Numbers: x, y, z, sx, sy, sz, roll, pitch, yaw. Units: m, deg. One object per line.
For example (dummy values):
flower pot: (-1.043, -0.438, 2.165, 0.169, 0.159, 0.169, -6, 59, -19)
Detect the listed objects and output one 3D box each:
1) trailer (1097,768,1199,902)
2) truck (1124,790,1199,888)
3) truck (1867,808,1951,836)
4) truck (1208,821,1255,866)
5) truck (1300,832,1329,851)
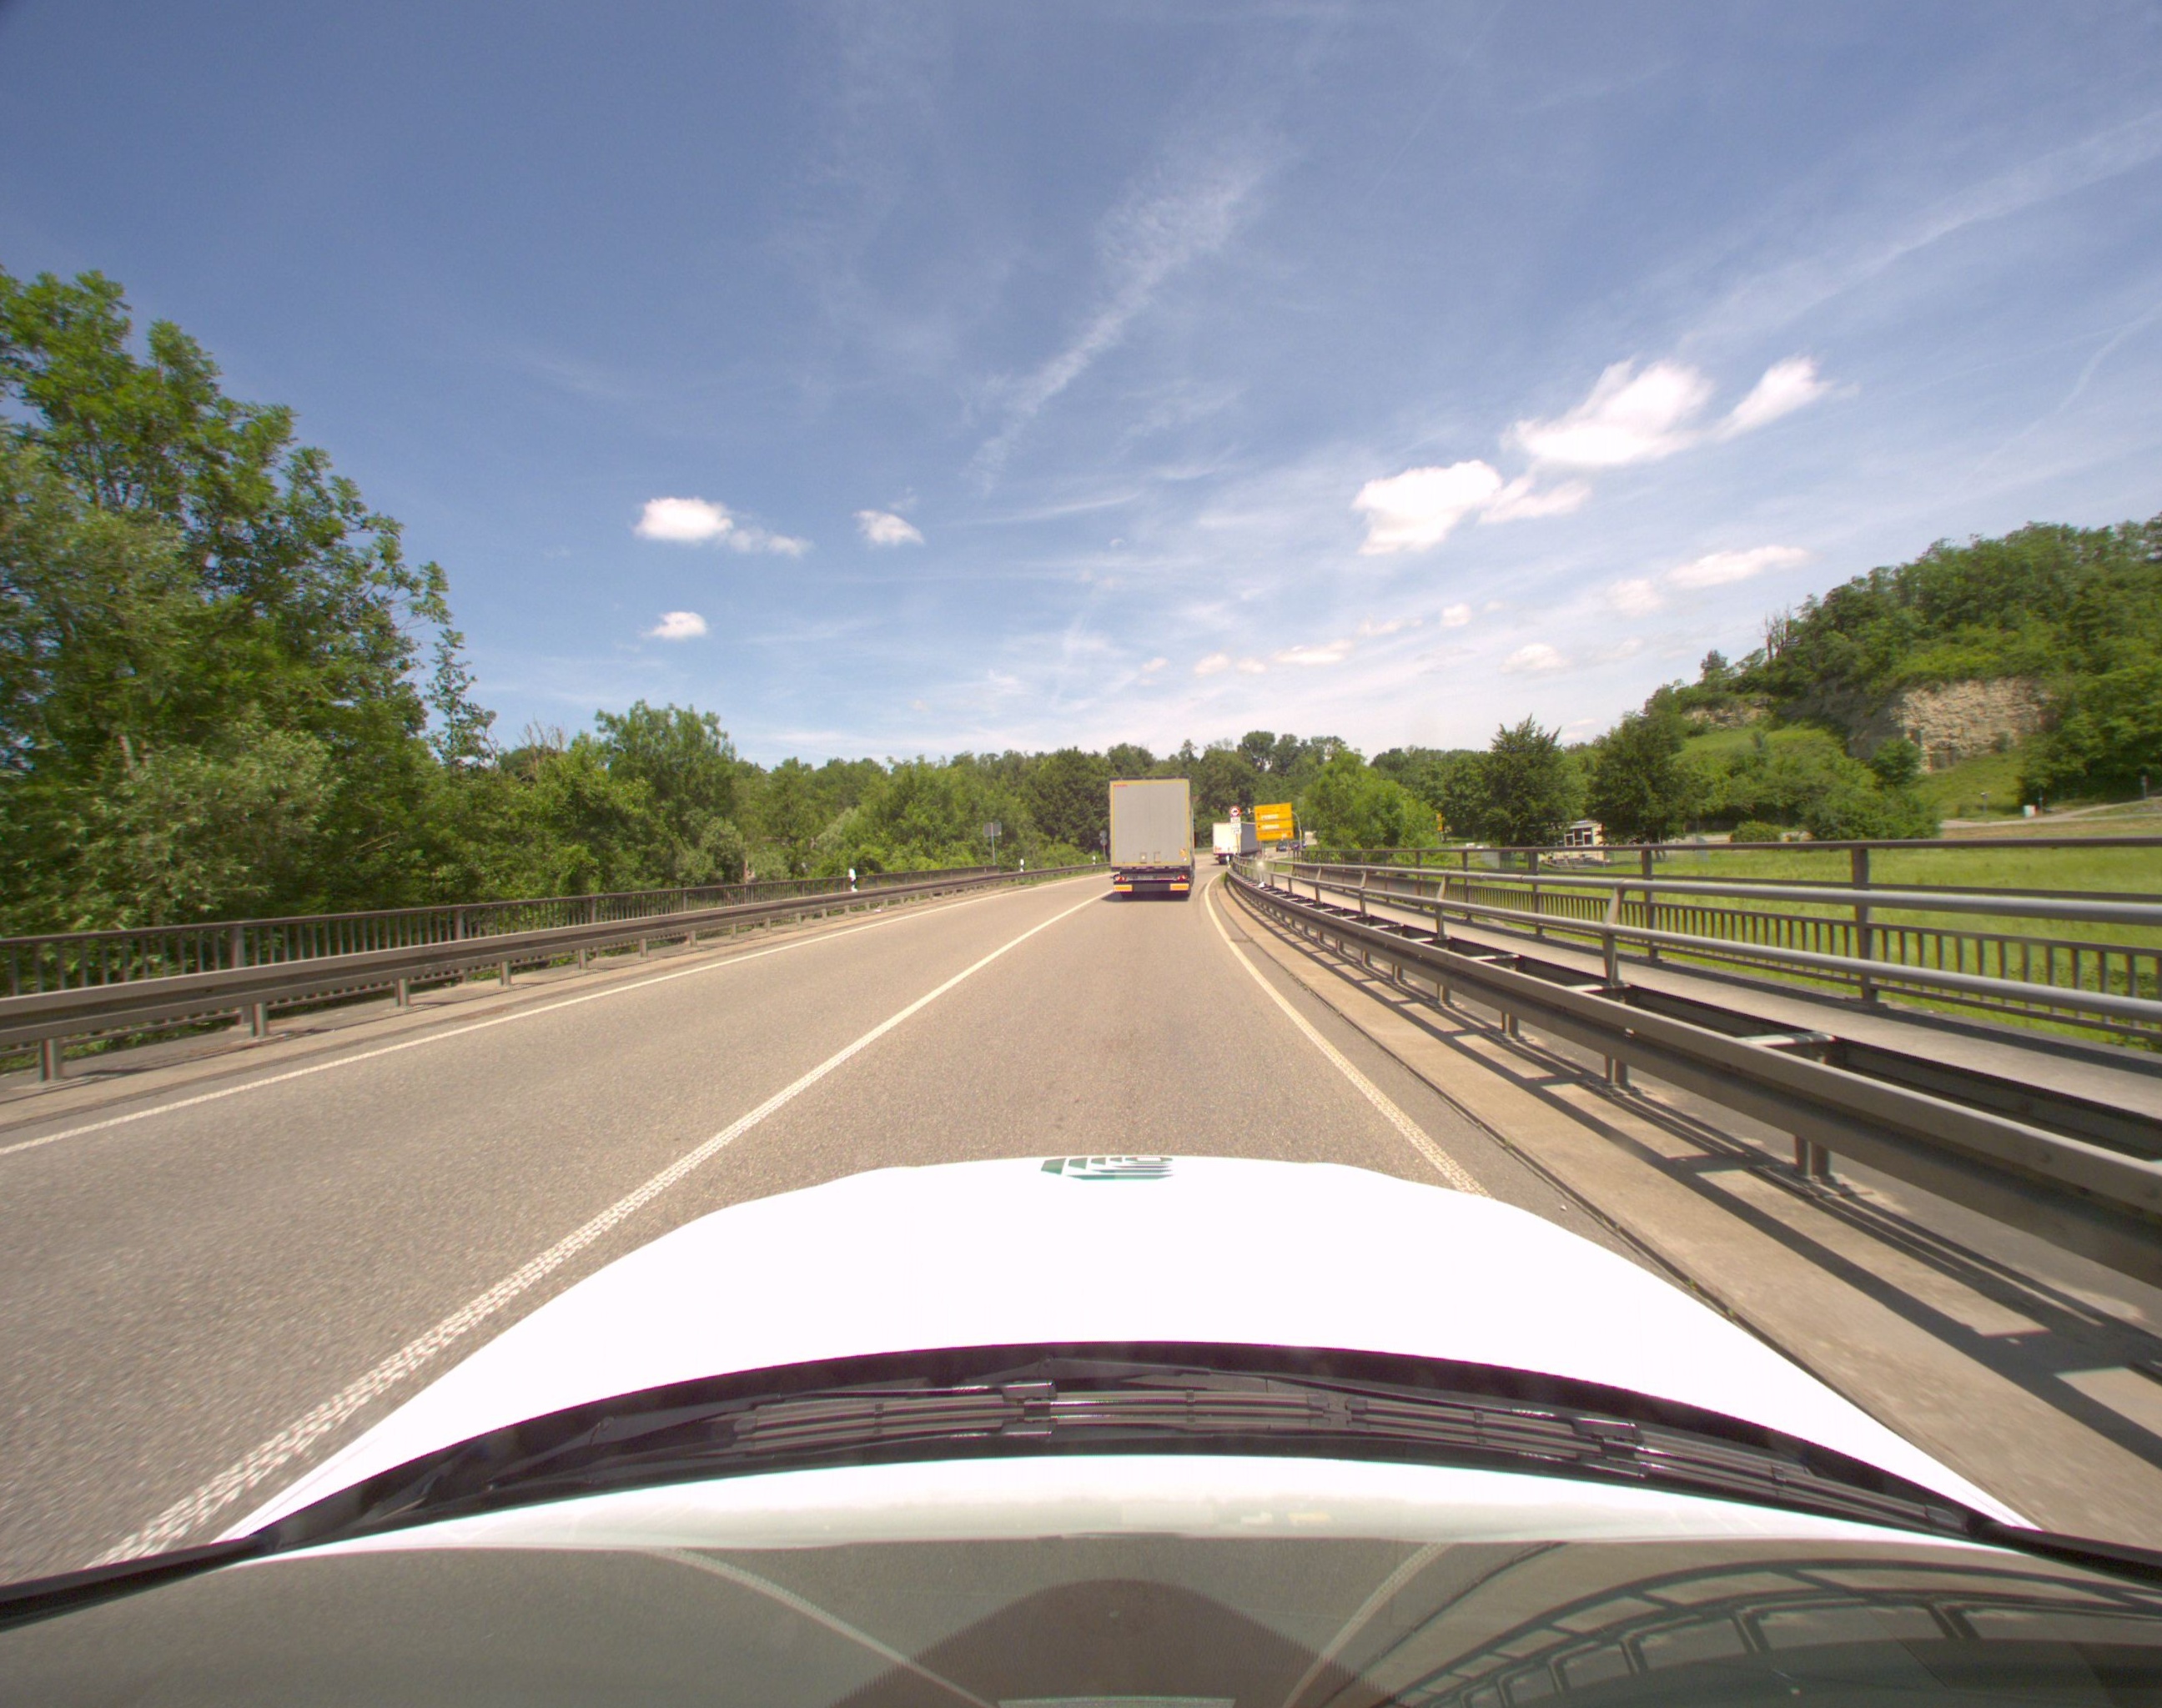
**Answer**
trailer: (2.951, -0.588, 31.447, 3.034, 4.034, 12.587, -2, 0, 8)
truck: (3.869, -0.622, 37.709, 3.021, 4.034, 6.644, -2, 0, 8)
truck: (90.763, -3.482, 89.441, 5.954, 2.728, 2.517, -1, -1, 29)
truck: (15.005, -0.951, 80.462, 3.154, 4.029, 11.796, -2, 0, 17)
truck: (38.042, -1.997, 132.557, 2.828, 2.947, 7.149, -1, 1, 29)
